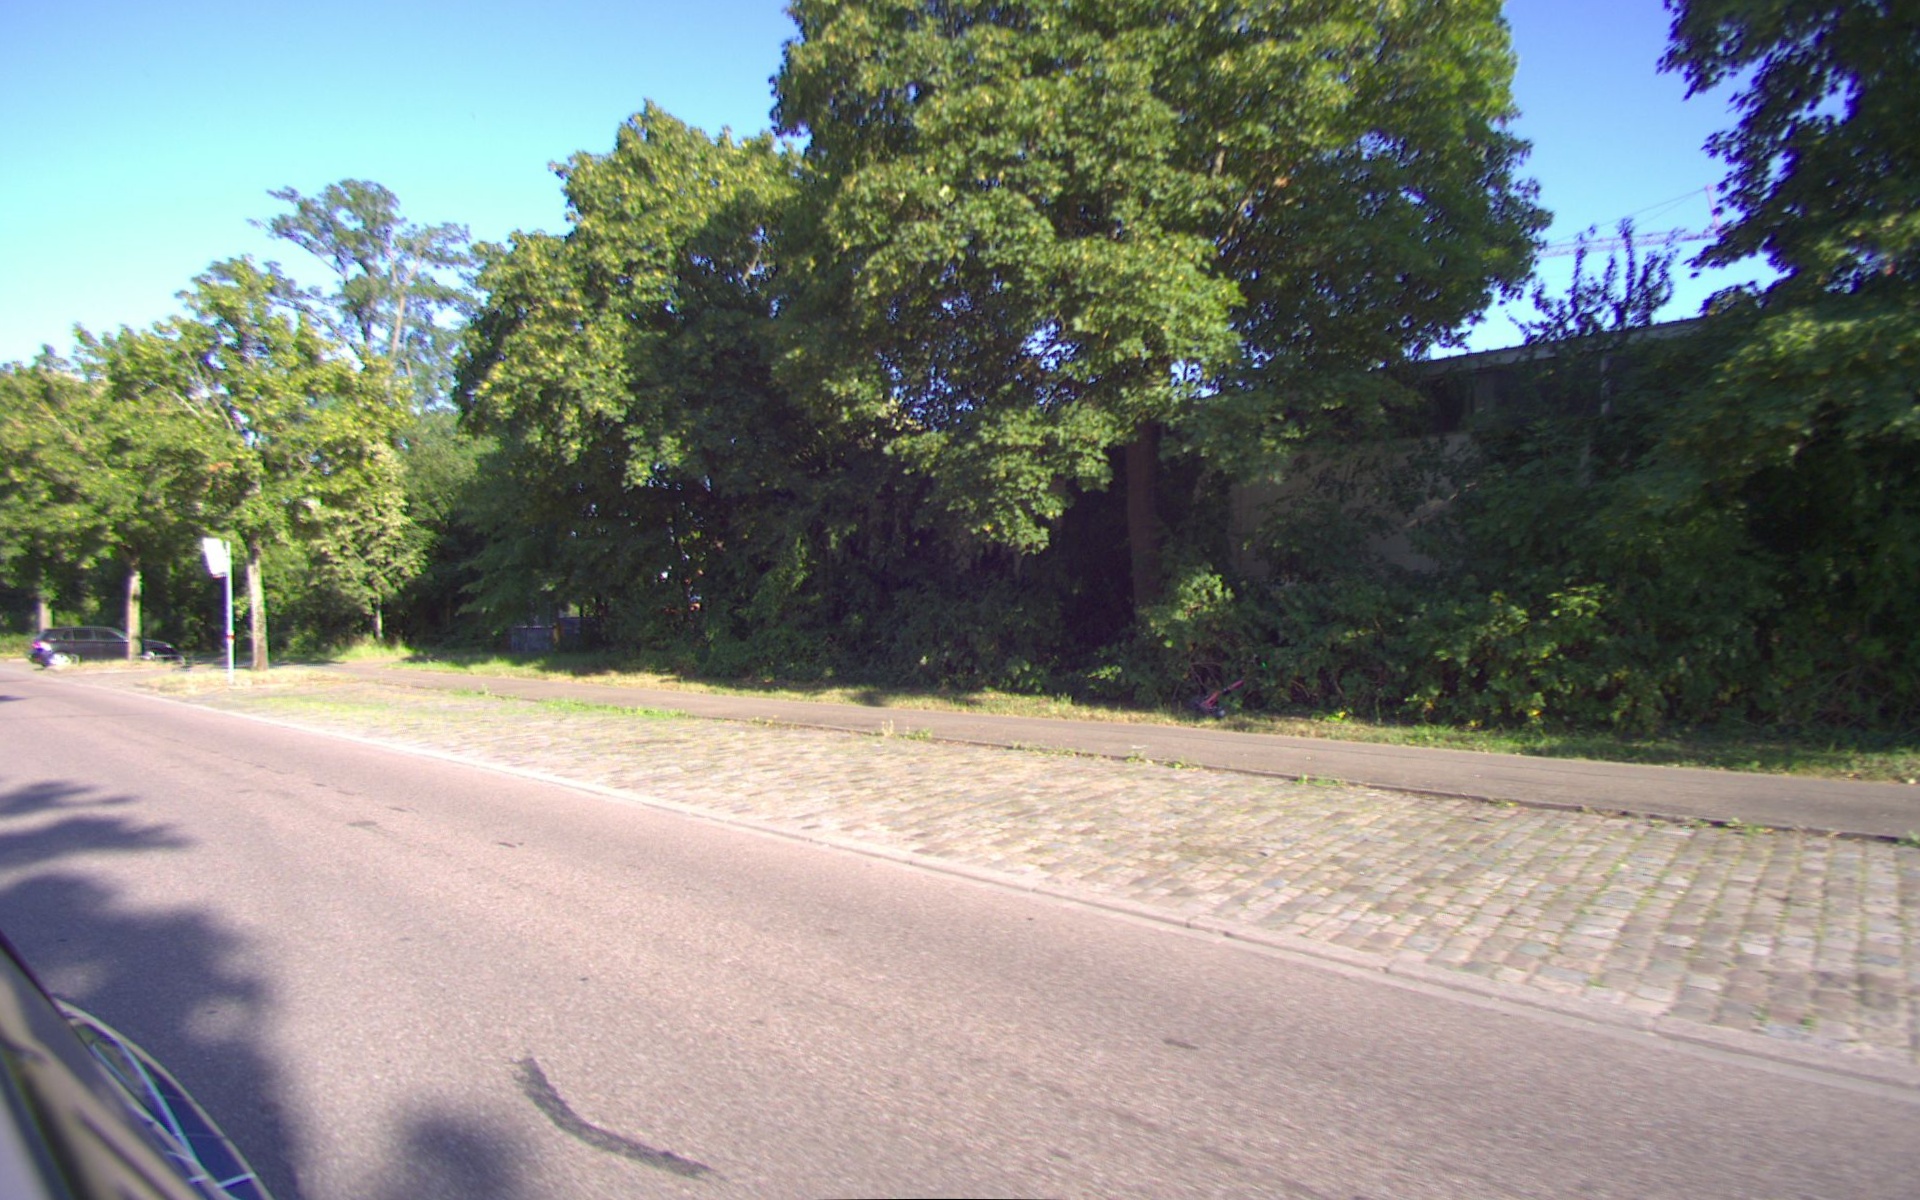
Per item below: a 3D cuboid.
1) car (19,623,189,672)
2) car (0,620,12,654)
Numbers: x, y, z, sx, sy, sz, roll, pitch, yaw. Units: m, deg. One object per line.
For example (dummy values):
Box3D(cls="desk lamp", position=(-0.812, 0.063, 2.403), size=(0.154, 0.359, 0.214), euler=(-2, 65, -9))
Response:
Box3D(cls="car", position=(-30.450, 1.638, 36.091), size=(1.997, 1.490, 4.317), euler=(-2, 0, 38))
Box3D(cls="car", position=(-58.995, 2.155, 59.105), size=(2.169, 2.035, 4.963), euler=(-1, -2, 34))
